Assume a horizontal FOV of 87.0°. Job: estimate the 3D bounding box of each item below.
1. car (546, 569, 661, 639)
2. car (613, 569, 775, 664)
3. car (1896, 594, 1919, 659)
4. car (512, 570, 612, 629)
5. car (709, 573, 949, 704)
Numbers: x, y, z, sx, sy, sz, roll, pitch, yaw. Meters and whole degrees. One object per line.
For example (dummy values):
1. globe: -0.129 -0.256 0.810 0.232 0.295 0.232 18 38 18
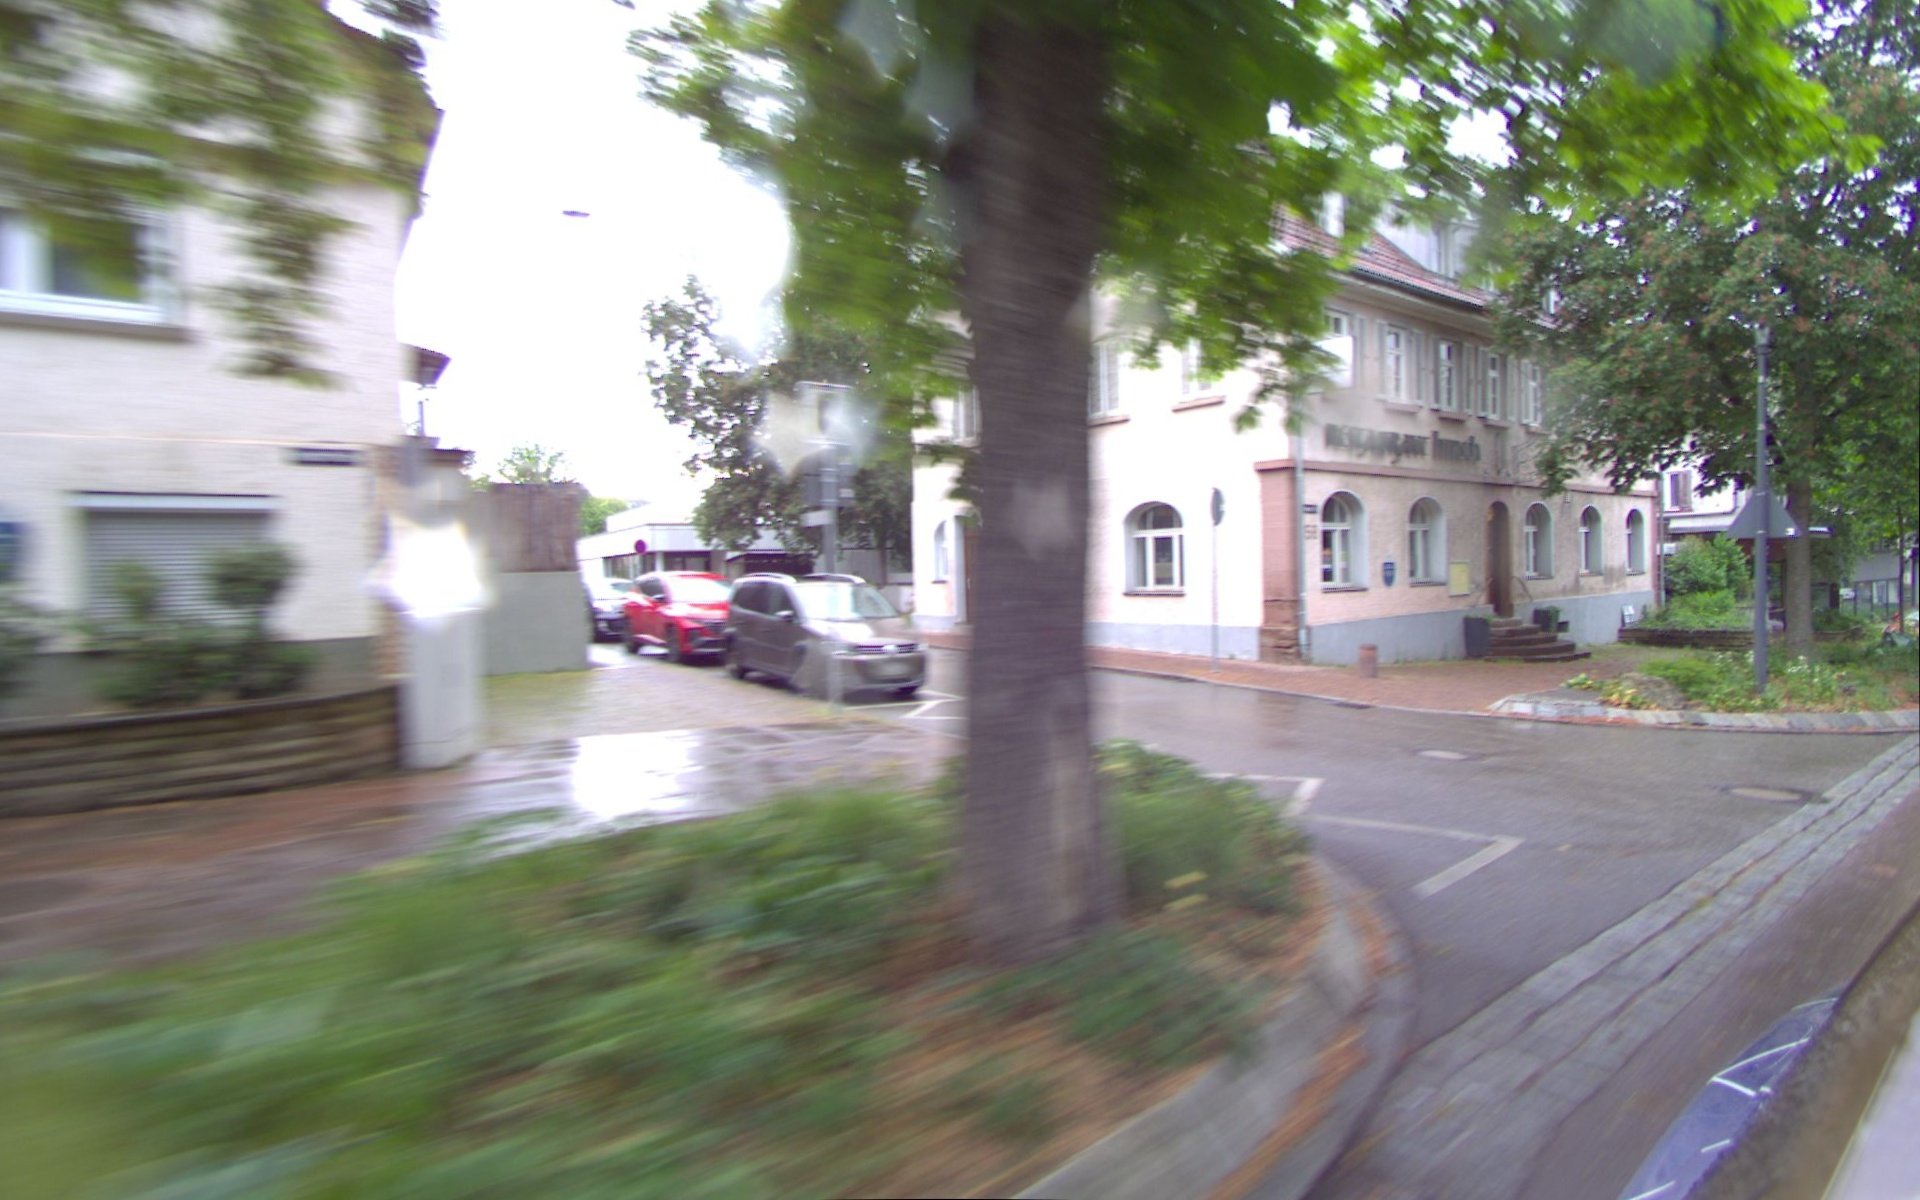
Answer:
1. car: -8.897 0.044 25.076 1.746 1.603 3.971 0 1 -34
2. car: -5.263 0.232 19.636 1.673 1.641 4.195 0 1 -35
3. car: 24.083 0.634 24.129 4.735 1.487 1.897 0 1 -38
4. car: -11.614 -0.078 29.378 1.805 1.514 4.196 -2 3 -34
5. car: -2.072 0.428 14.854 1.805 1.603 4.196 0 2 -34
